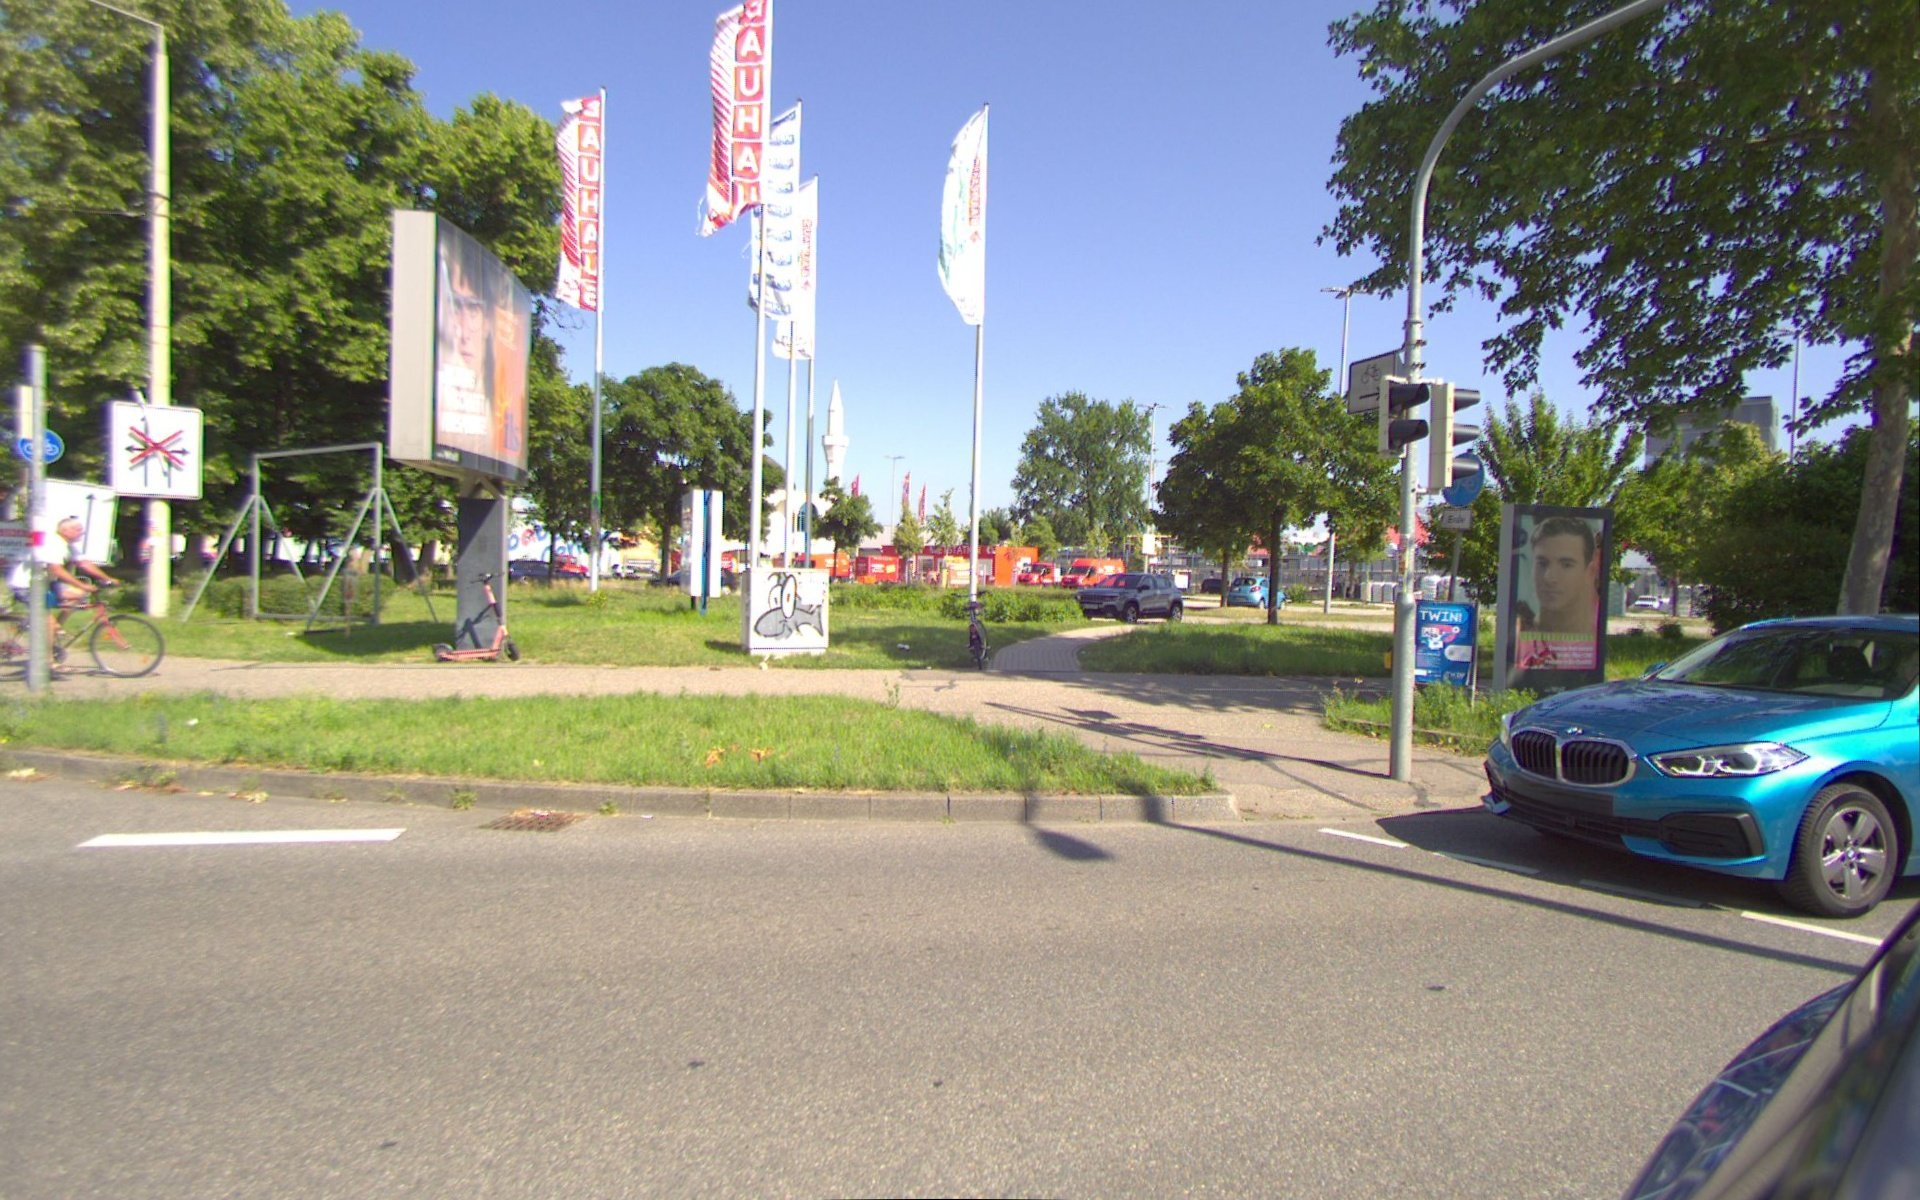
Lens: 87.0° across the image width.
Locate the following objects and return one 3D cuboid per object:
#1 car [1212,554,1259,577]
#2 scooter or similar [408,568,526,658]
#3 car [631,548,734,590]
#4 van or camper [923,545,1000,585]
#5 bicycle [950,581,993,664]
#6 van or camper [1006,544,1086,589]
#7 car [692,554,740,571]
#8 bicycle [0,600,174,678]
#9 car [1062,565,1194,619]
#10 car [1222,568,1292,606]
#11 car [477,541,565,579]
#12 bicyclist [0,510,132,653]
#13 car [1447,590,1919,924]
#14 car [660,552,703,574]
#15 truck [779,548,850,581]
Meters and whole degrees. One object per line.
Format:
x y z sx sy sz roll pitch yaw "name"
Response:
21.420 -2.663 78.526 1.781 1.549 4.325 -1 -1 42 "car"
-6.562 0.166 13.505 1.344 1.162 0.437 1 1 -14 "scooter or similar"
-12.269 -1.313 44.847 3.928 1.705 1.998 0 -1 -39 "car"
0.224 -2.736 81.303 1.992 2.979 7.178 -1 -1 41 "van or camper"
0.198 0.300 15.392 0.487 1.153 1.906 0 2 6 "bicycle"
6.341 -2.386 73.996 1.992 2.979 7.178 -1 -1 41 "van or camper"
-28.221 -4.319 117.185 5.055 1.777 1.997 0 -1 -41 "car"
-9.896 0.417 11.151 1.871 0.804 0.535 0 2 -27 "bicycle"
4.910 -0.194 29.302 1.900 1.438 3.936 -1 -1 44 "car"
12.968 -0.534 44.107 1.538 1.552 3.431 -1 -1 44 "car"
-23.356 -2.088 53.898 3.928 1.861 1.998 1 -1 -39 "car"
-9.932 -0.204 11.071 1.211 1.495 0.760 1 2 -27 "bicyclist"
5.213 0.699 5.845 4.043 1.438 1.878 1 1 -14 "car"
-28.599 -3.742 103.928 1.987 2.039 3.949 0 -1 35 "car"
-11.626 -2.796 81.150 1.992 2.443 5.693 -1 -1 42 "truck"
